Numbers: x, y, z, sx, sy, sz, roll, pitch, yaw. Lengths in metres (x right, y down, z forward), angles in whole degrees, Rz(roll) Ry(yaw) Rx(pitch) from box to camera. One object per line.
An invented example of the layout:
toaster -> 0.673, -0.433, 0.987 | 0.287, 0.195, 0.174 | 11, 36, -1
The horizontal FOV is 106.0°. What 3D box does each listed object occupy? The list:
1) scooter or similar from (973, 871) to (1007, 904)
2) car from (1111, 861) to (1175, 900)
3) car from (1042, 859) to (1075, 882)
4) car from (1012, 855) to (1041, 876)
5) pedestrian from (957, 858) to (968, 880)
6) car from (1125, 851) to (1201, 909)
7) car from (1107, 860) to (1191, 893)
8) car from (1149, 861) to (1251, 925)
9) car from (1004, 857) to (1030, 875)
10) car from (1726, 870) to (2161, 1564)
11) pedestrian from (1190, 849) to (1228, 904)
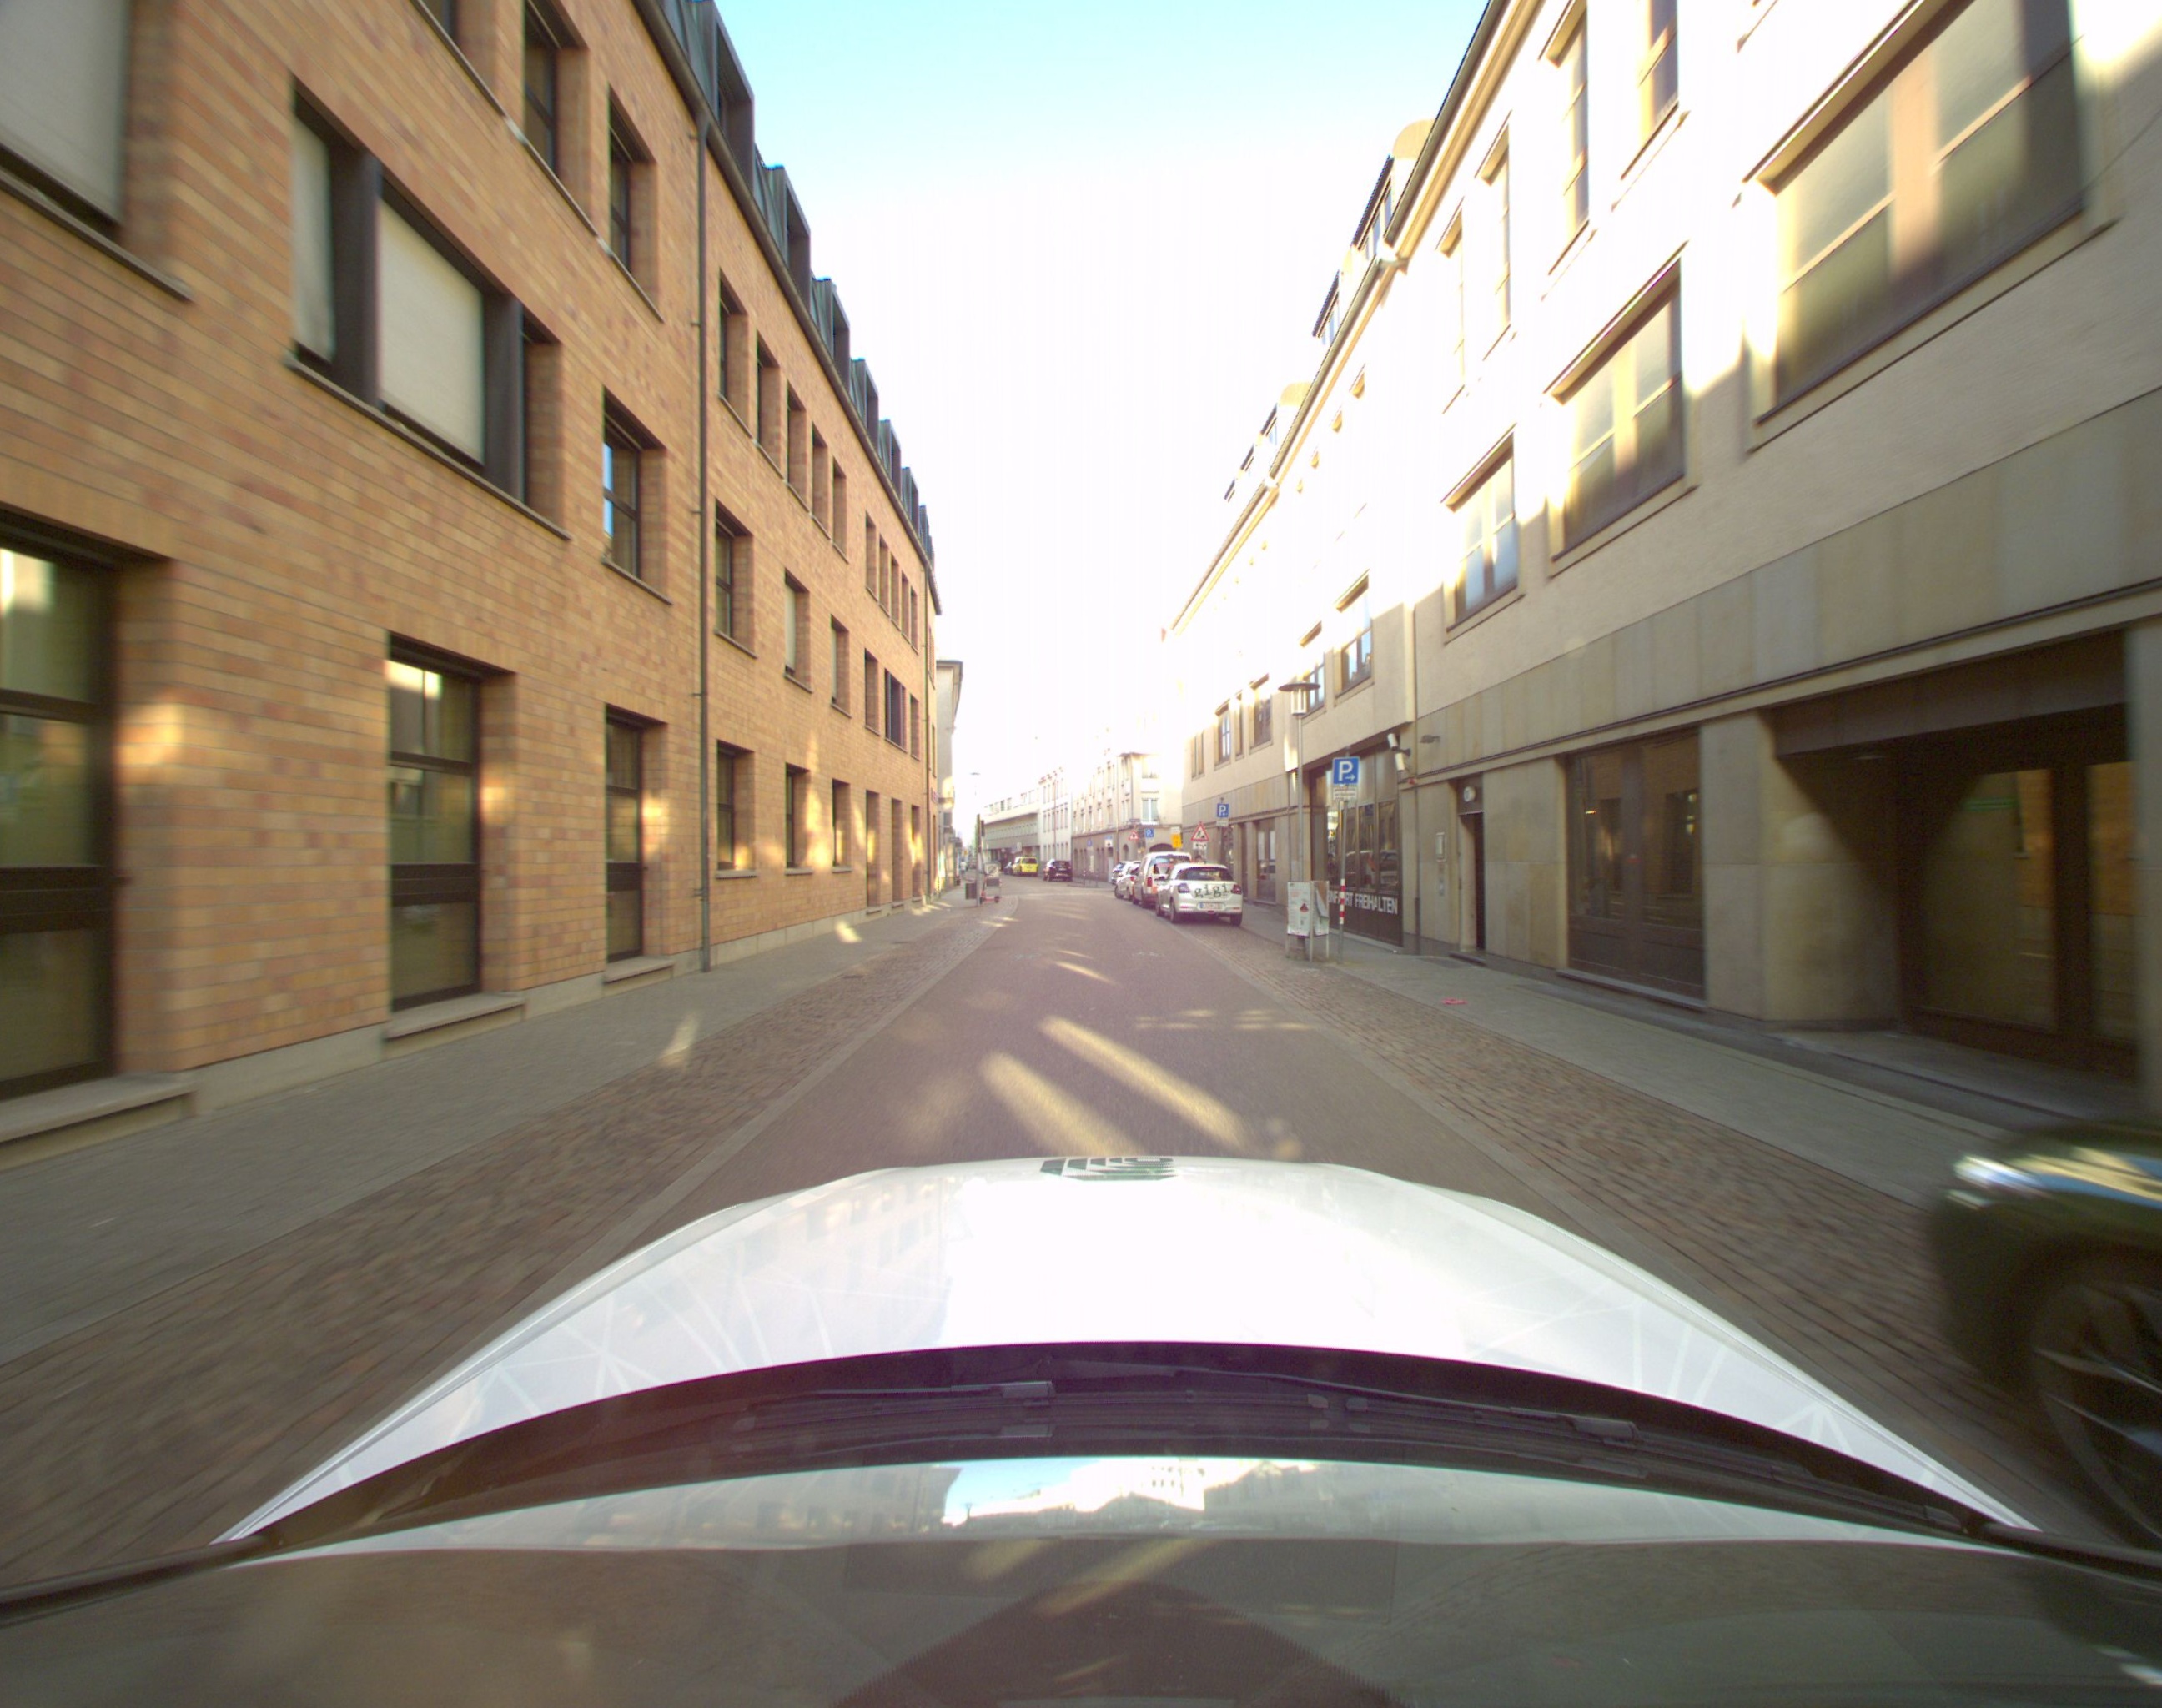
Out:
scooter or similar -> -3.517, 1.276, 31.612 | 0.691, 1.217, 1.365 | -2, 0, 25
car -> 2.483, 1.043, 33.656 | 1.887, 1.518, 4.052 | 0, 0, -8
car -> -1.806, 1.245, 63.431 | 1.968, 1.692, 4.086 | 1, 0, -10
car -> -5.401, 1.096, 79.614 | 2.056, 2.014, 4.153 | 0, 0, -15
pedestrian -> -9.532, 1.225, 65.452 | 0.767, 1.724, 0.683 | 0, -1, -17
car -> 2.677, 0.820, 27.718 | 1.826, 1.791, 5.208 | 0, -1, -3
car -> 3.472, 1.123, 41.817 | 3.987, 1.562, 1.836 | -1, 0, -10
car -> 3.003, 0.947, 21.425 | 1.836, 1.478, 4.163 | 2, 0, -3
car -> -6.757, 1.218, 85.318 | 2.056, 1.873, 4.079 | 0, 0, -15
car -> 3.207, 0.785, 0.319 | 1.887, 1.453, 5.227 | 1, 0, 1
pedestrian -> 4.302, 0.762, 27.446 | 1.039, 1.801, 1.197 | -1, -1, -3
